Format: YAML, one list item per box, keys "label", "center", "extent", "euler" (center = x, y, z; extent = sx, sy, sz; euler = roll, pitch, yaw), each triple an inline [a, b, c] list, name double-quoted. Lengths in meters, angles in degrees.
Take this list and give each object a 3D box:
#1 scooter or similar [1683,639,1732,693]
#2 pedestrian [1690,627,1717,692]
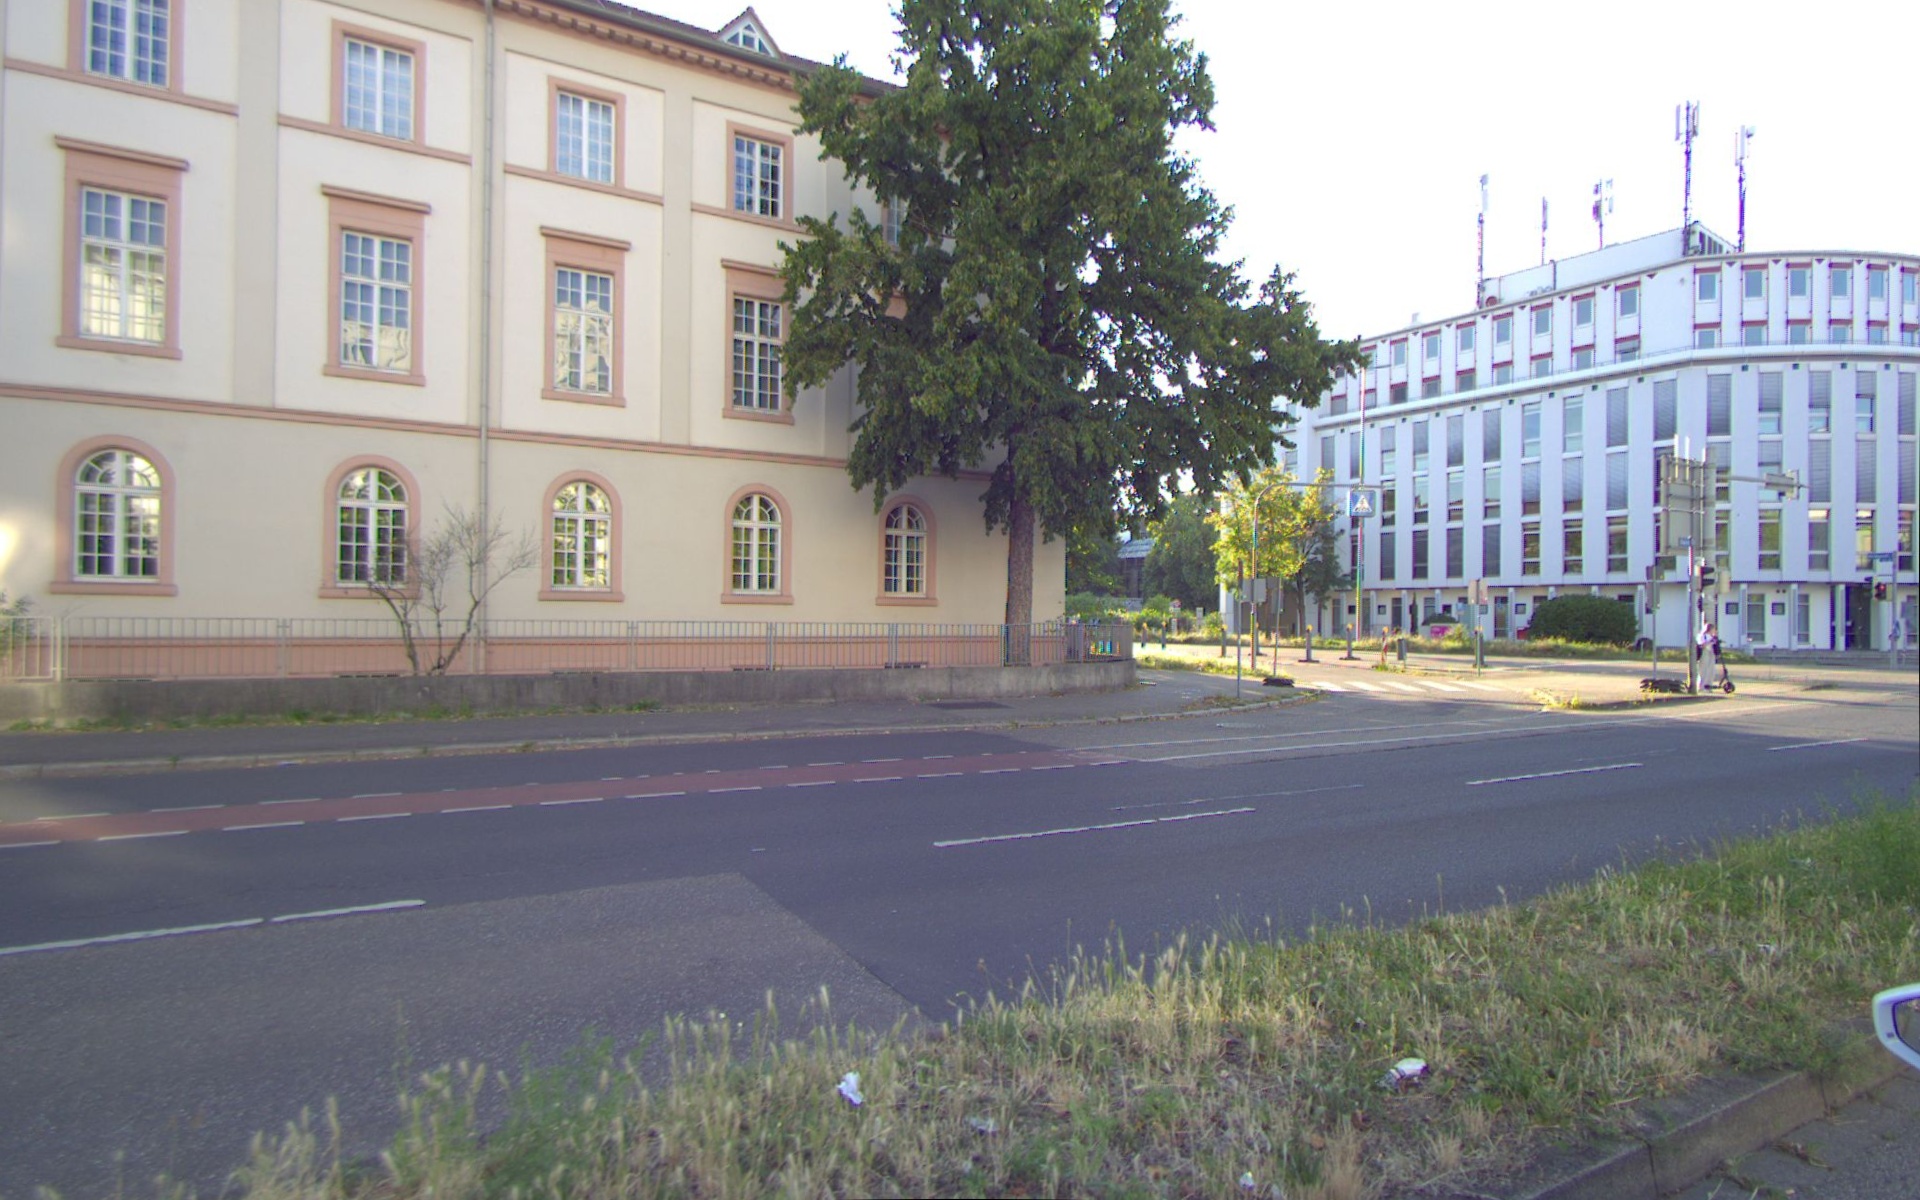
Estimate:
- label: "scooter or similar"
  center: [17.861, 1.556, 23.997]
  extent: [0.368, 1.250, 0.885]
  euler: [1, -1, -40]
- label: "pedestrian"
  center: [17.879, 1.419, 24.150]
  extent: [0.332, 1.525, 0.470]
  euler: [1, -1, -41]
